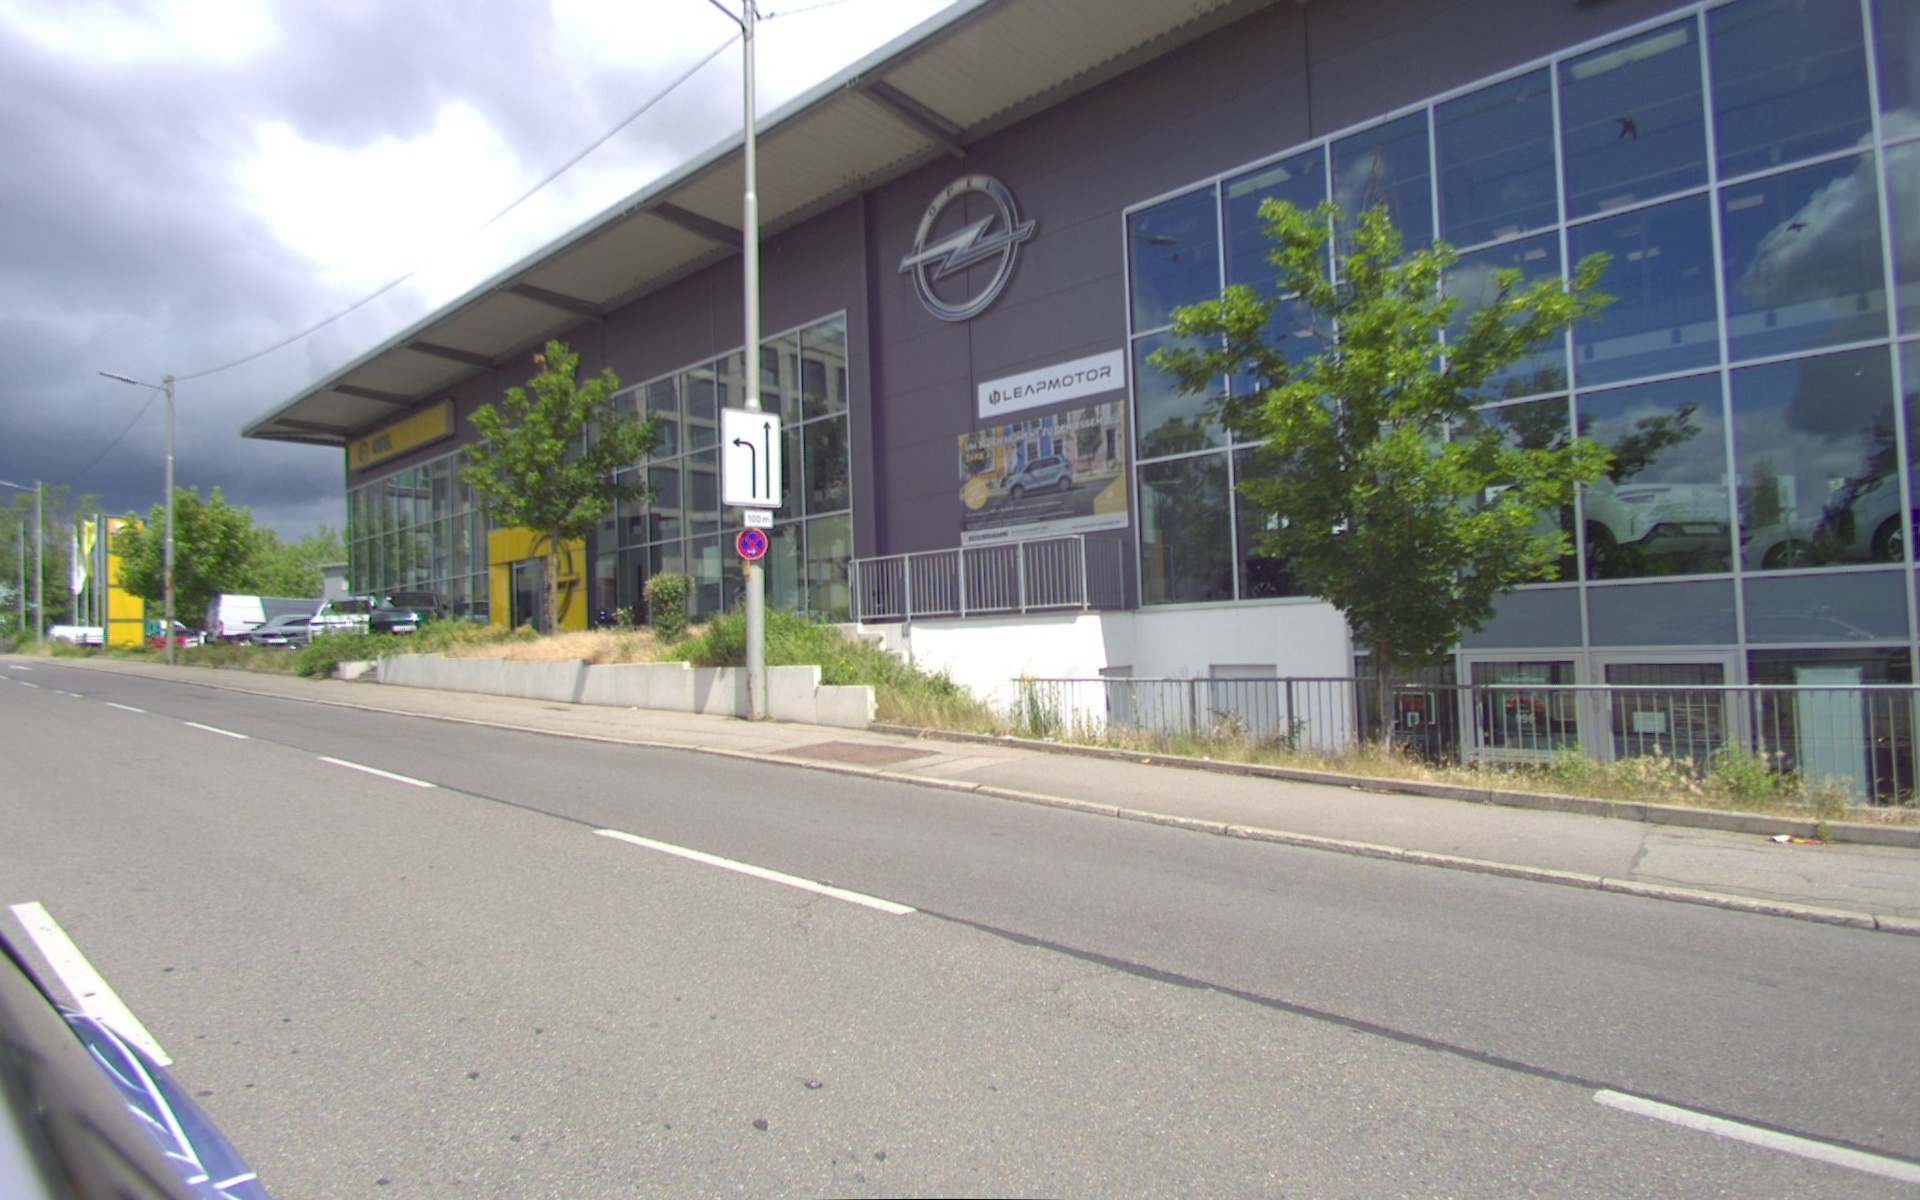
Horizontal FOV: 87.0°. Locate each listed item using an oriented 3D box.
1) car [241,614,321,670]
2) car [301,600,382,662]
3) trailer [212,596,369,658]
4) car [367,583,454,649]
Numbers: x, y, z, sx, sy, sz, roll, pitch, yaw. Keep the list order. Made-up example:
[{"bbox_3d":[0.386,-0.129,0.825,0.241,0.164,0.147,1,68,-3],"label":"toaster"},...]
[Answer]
[{"bbox_3d":[-23.479,1.412,35.149,1.966,1.807,4.012,1,-1,-29],"label":"car"},{"bbox_3d":[-19.214,0.952,31.587,1.966,1.807,4.012,1,-2,-29],"label":"car"},{"bbox_3d":[-27.426,1.091,41.602,1.998,2.367,5.011,-1,-2,39],"label":"trailer"},{"bbox_3d":[-15.688,0.476,28.799,1.966,1.741,4.011,1,-2,-31],"label":"car"}]
